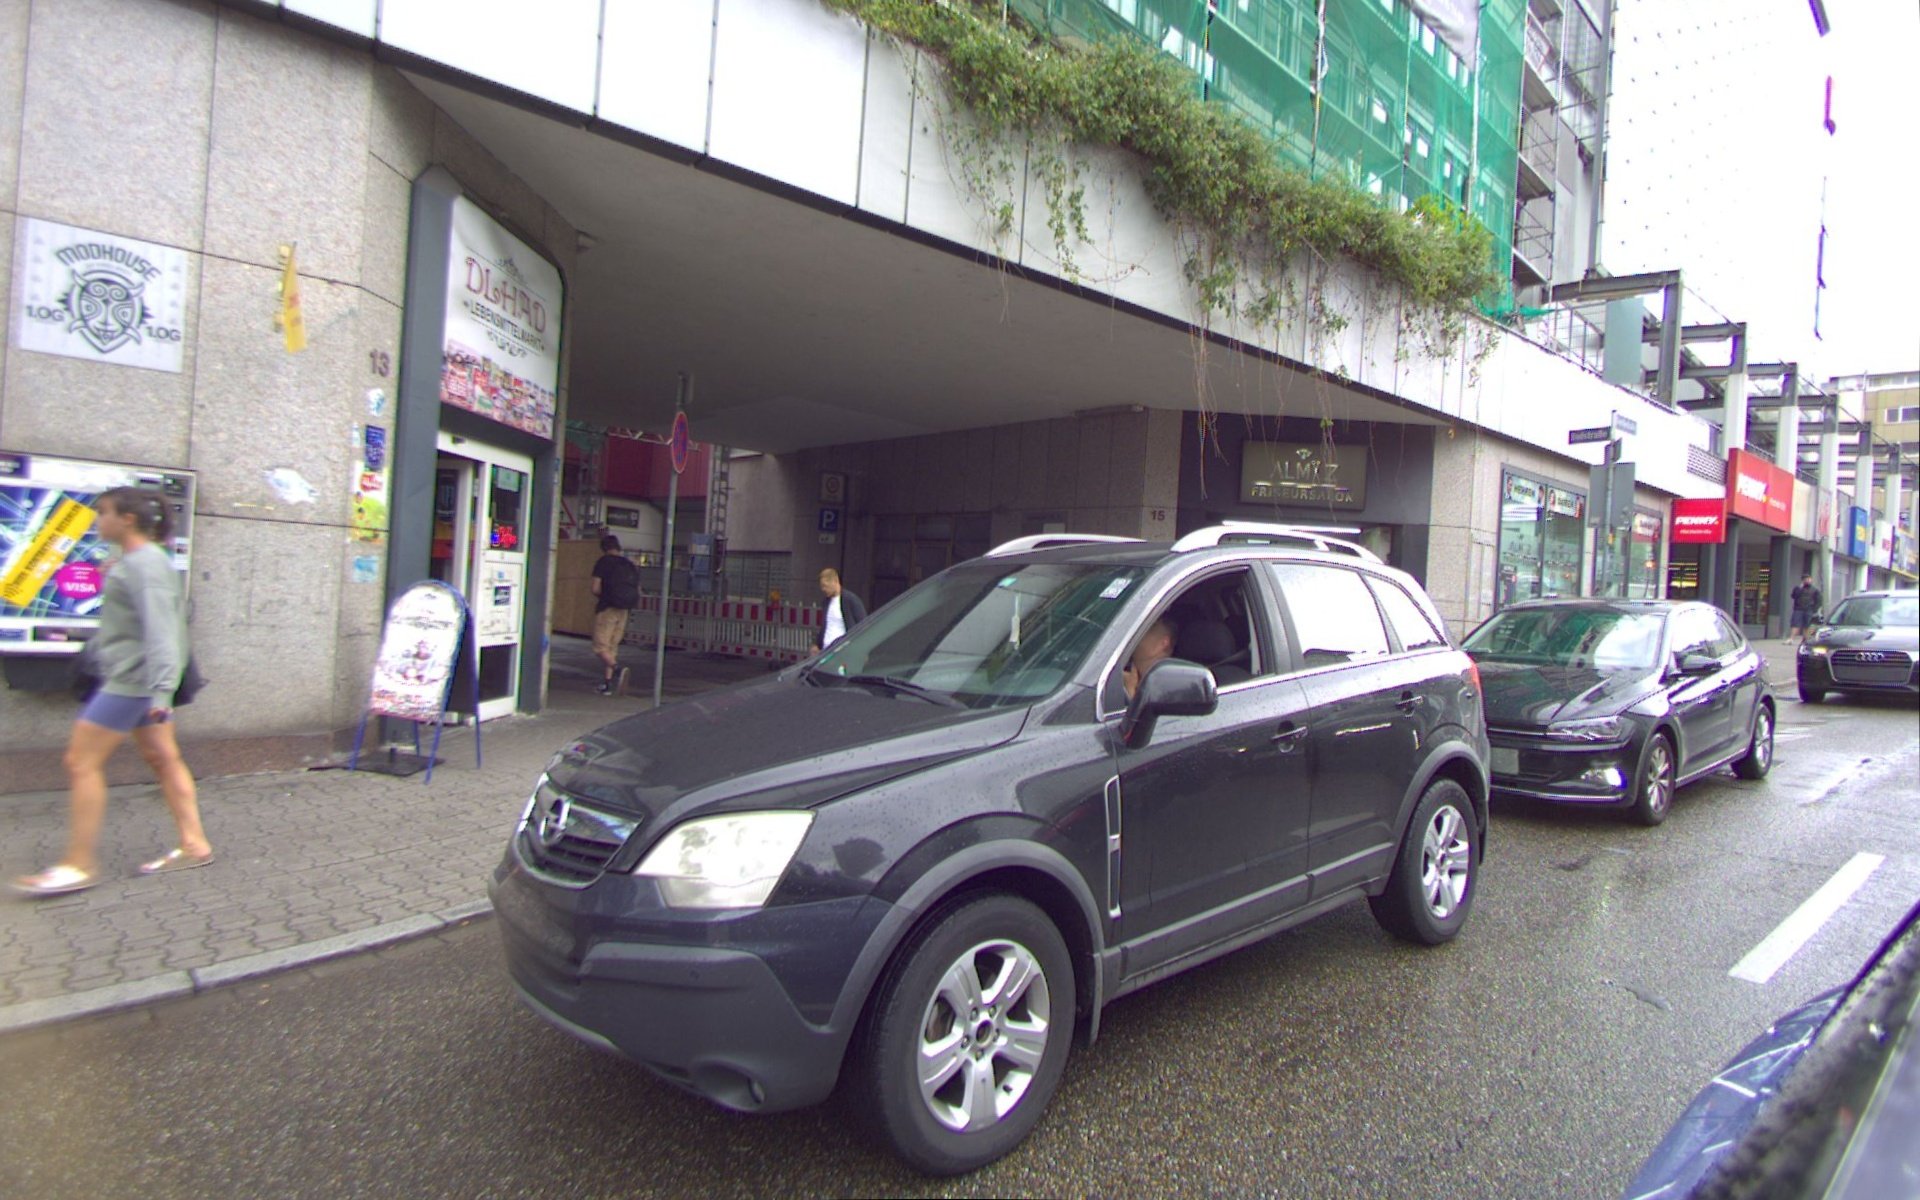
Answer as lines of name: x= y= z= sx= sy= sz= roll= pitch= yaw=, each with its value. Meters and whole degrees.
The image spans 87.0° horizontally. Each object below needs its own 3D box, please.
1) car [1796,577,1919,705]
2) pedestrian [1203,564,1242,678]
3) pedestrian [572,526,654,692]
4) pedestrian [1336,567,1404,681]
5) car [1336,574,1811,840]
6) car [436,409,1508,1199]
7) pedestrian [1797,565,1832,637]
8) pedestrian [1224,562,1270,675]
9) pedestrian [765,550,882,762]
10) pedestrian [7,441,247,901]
car: x=13.566 y=0.497 z=14.403 sx=4.089 sy=1.628 sz=1.841 roll=-1 pitch=1 yaw=-39
pedestrian: x=4.045 y=0.312 z=15.596 sx=0.474 sy=1.729 sz=0.467 roll=0 pitch=0 yaw=1
pedestrian: x=-4.060 y=0.082 z=11.816 sx=0.757 sy=1.837 sz=0.745 roll=0 pitch=5 yaw=-29
pedestrian: x=6.171 y=0.347 z=15.251 sx=0.626 sy=1.663 sz=0.735 roll=-1 pitch=1 yaw=-17
car: x=4.833 y=0.630 z=7.753 sx=4.086 sy=1.523 sz=1.759 roll=1 pitch=0 yaw=-38
car: x=0.404 y=0.534 z=3.994 sx=4.090 sy=1.788 sz=1.763 roll=1 pitch=0 yaw=-41
pedestrian: x=20.562 y=0.012 z=24.354 sx=0.570 sy=1.699 sz=0.509 roll=-1 pitch=3 yaw=-42
pedestrian: x=4.206 y=0.257 z=14.831 sx=0.630 sy=1.615 sz=0.574 roll=0 pitch=1 yaw=17
pedestrian: x=-1.261 y=0.472 z=9.335 sx=0.760 sy=1.838 sz=0.743 roll=0 pitch=3 yaw=-40
pedestrian: x=-3.711 y=0.254 z=4.537 sx=0.760 sy=1.837 sz=0.743 roll=-1 pitch=6 yaw=-42
